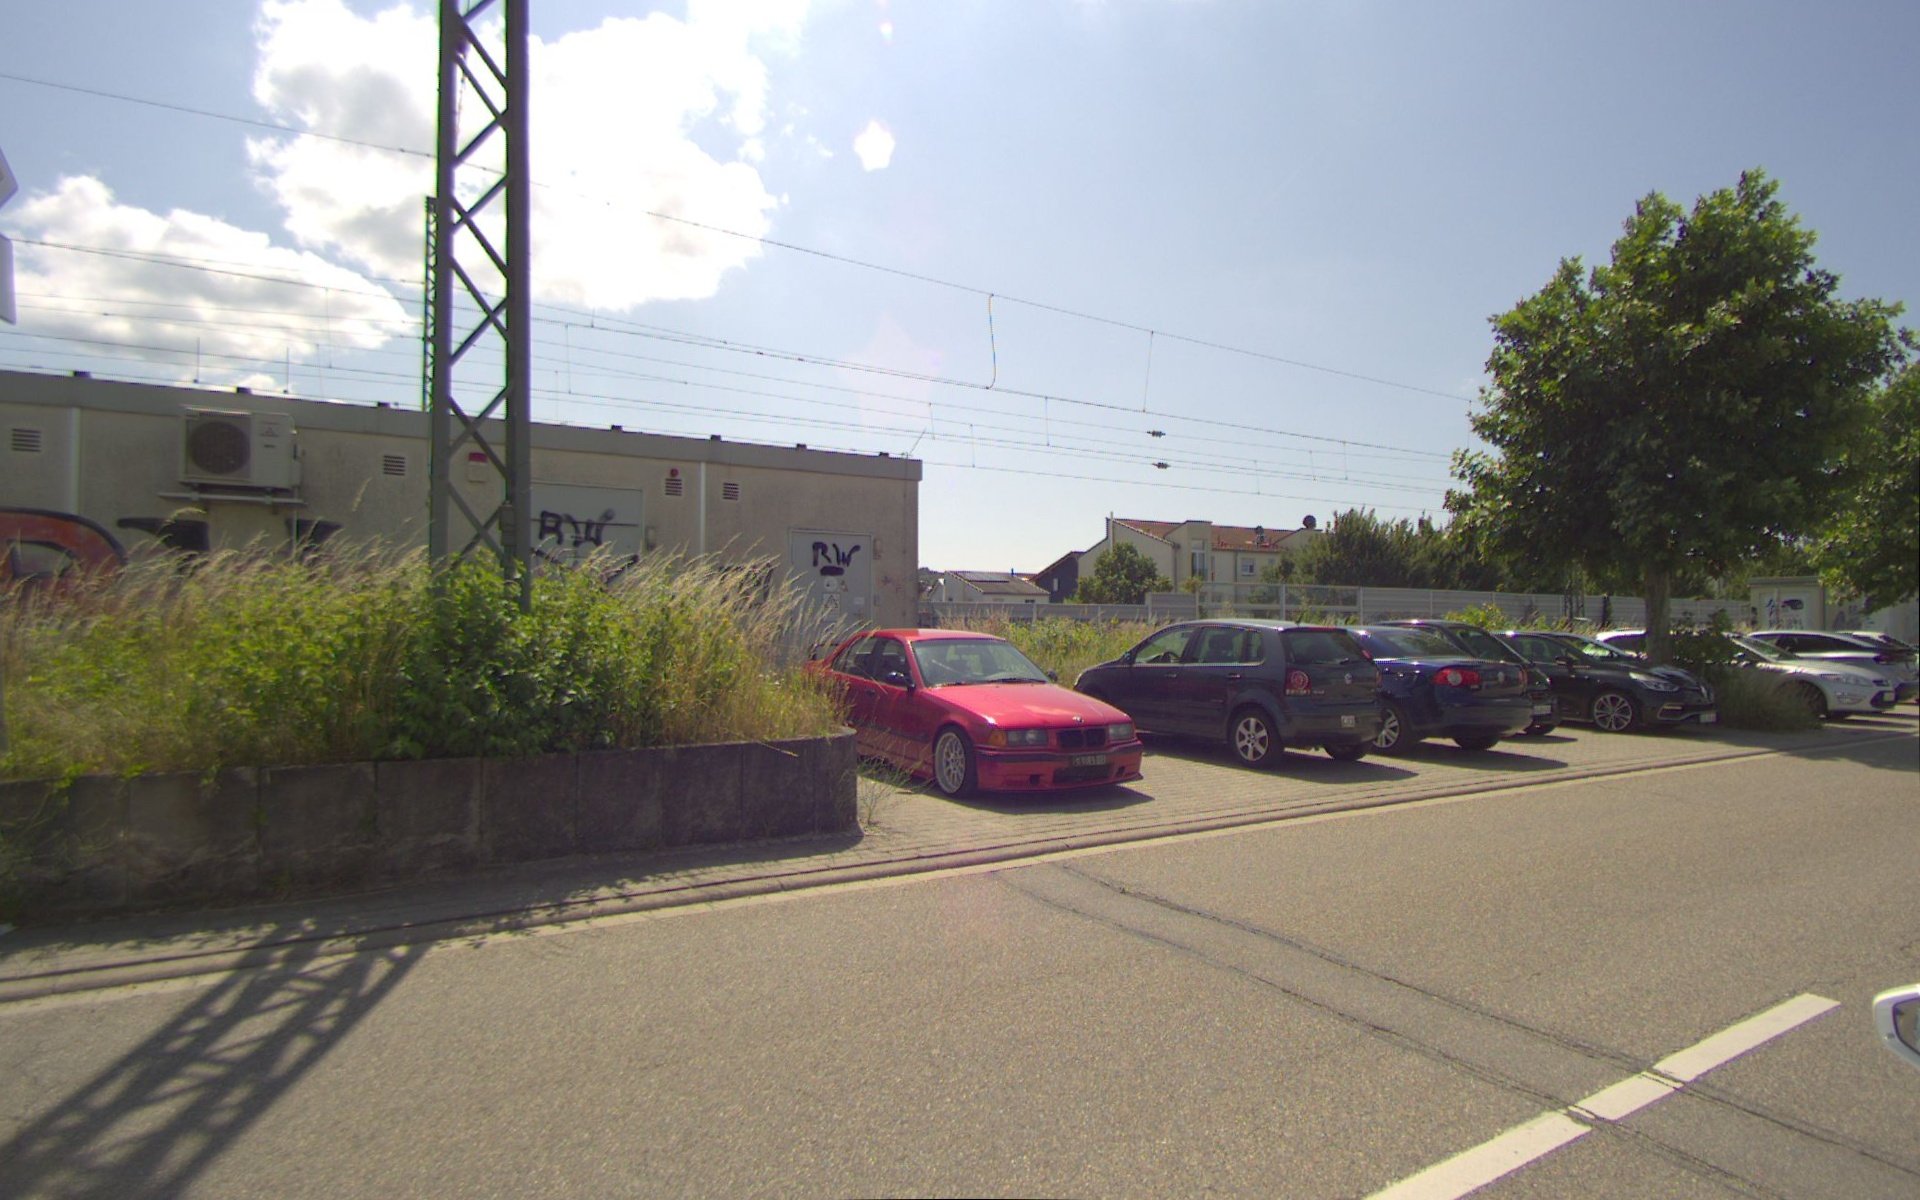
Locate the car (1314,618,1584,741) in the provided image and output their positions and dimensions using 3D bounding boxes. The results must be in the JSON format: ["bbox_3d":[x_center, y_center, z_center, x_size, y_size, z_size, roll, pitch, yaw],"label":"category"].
[{"bbox_3d":[6.952,1.081,14.514,1.585,1.558,3.169,3,-3,-33],"label":"car"}]

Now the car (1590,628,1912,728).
[{"bbox_3d":[14.393,1.320,18.538,1.905,1.553,4.315,1,-1,-32],"label":"car"}]

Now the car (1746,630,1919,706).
[{"bbox_3d":[20.784,1.517,23.089,1.832,1.639,3.945,2,-2,-35],"label":"car"}]

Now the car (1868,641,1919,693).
[{"bbox_3d":[27.752,1.869,27.370,1.852,1.413,4.184,2,-2,-33],"label":"car"}]

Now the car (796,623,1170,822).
[{"bbox_3d":[-0.022,0.945,9.497,1.654,1.387,4.052,0,-1,-31],"label":"car"}]

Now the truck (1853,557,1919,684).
[{"bbox_3d":[31.314,0.635,29.951,2.636,3.873,6.576,2,-2,-33],"label":"truck"}]

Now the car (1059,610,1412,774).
[{"bbox_3d":[2.915,0.890,11.308,1.666,1.467,3.644,2,0,-33],"label":"car"}]

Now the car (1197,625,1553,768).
[{"bbox_3d":[4.937,1.065,12.527,1.764,1.469,3.931,2,-2,-27],"label":"car"}]

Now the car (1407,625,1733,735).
[{"bbox_3d":[9.399,1.170,15.826,1.766,1.492,4.053,2,-3,-31],"label":"car"}]

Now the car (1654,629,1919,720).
[{"bbox_3d":[16.547,1.407,20.080,1.979,1.568,3.964,2,-2,-33],"label":"car"}]
